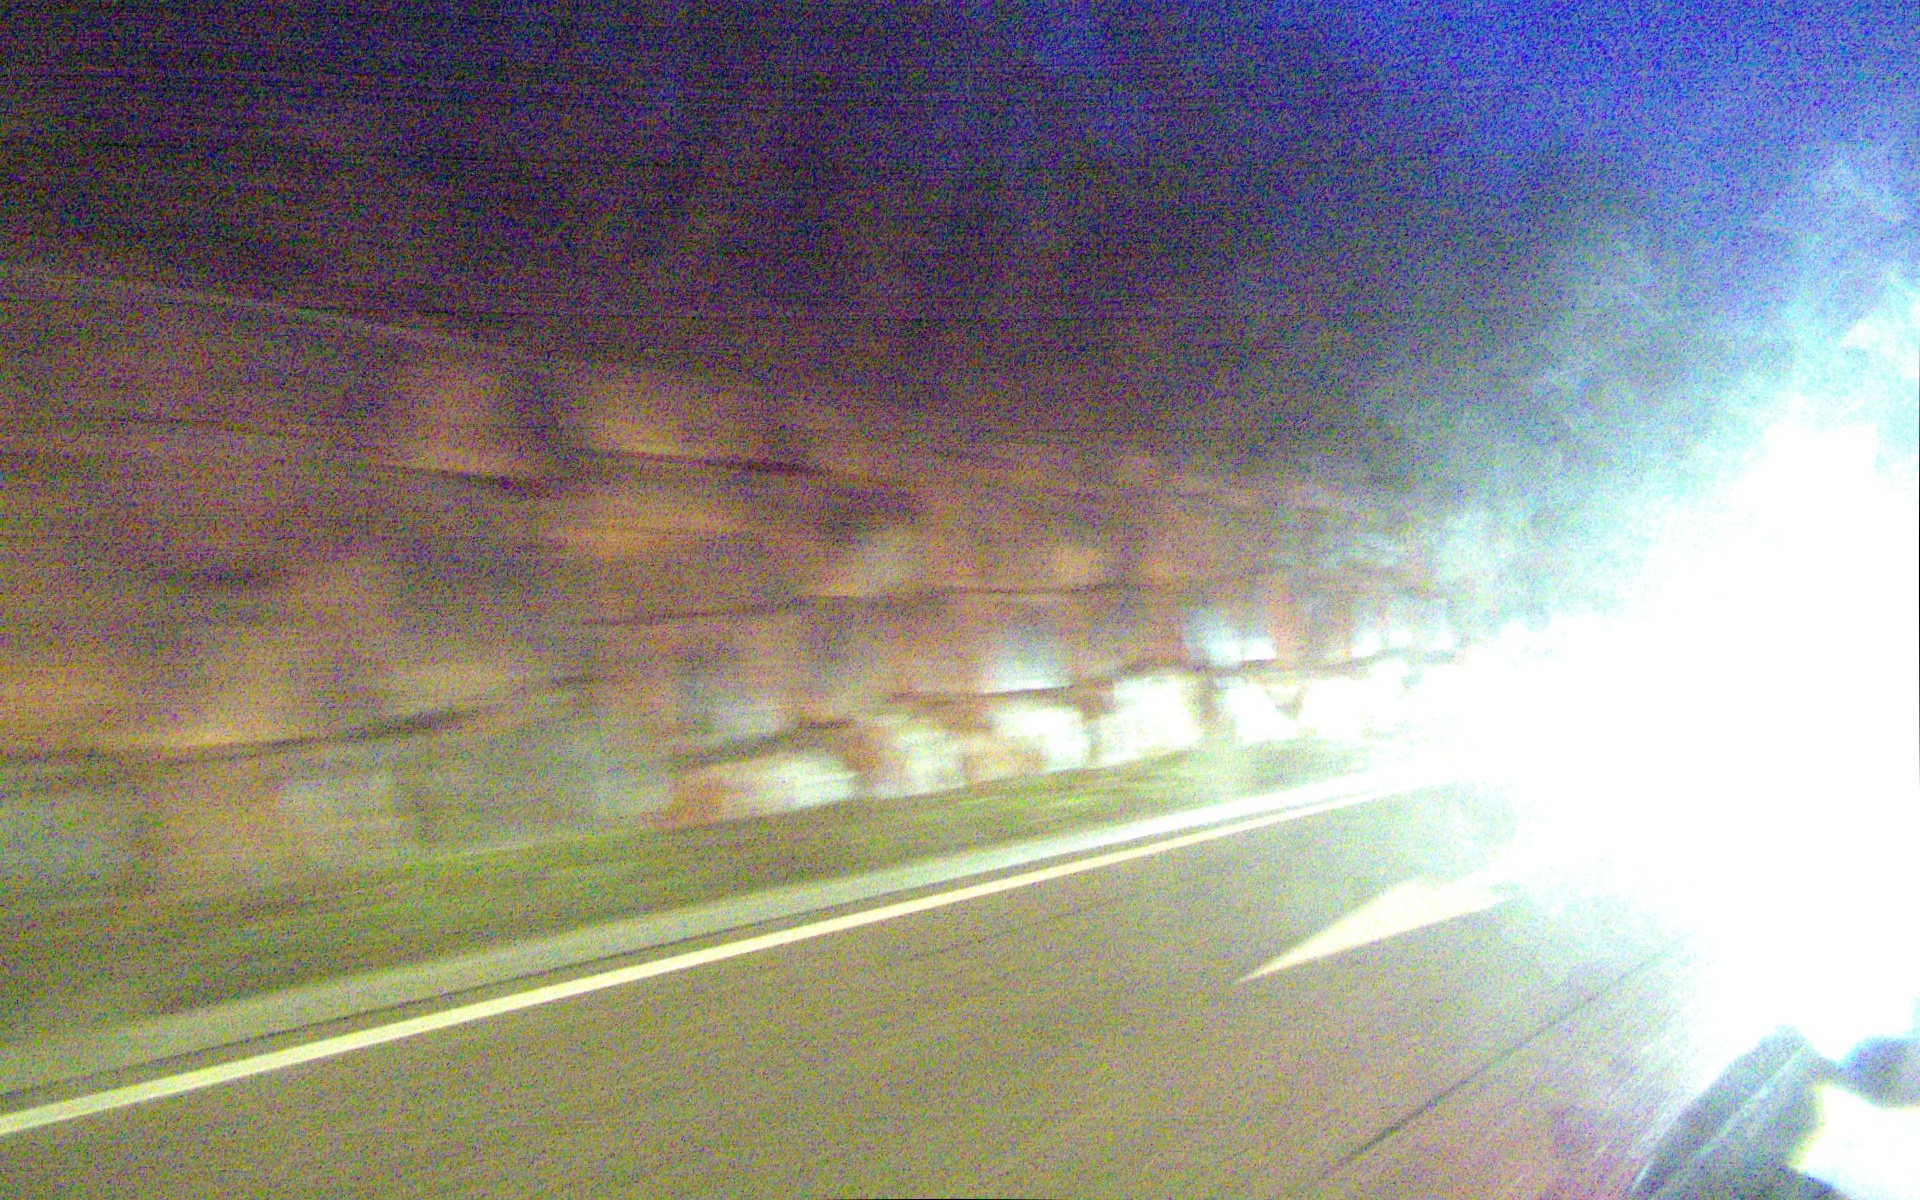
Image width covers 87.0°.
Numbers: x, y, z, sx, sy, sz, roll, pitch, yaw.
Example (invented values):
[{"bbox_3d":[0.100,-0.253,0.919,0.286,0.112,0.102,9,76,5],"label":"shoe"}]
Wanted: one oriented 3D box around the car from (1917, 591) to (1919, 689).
[{"bbox_3d":[18.913,0.712,18.450,4.146,1.715,1.789,0,0,-42],"label":"car"}]
